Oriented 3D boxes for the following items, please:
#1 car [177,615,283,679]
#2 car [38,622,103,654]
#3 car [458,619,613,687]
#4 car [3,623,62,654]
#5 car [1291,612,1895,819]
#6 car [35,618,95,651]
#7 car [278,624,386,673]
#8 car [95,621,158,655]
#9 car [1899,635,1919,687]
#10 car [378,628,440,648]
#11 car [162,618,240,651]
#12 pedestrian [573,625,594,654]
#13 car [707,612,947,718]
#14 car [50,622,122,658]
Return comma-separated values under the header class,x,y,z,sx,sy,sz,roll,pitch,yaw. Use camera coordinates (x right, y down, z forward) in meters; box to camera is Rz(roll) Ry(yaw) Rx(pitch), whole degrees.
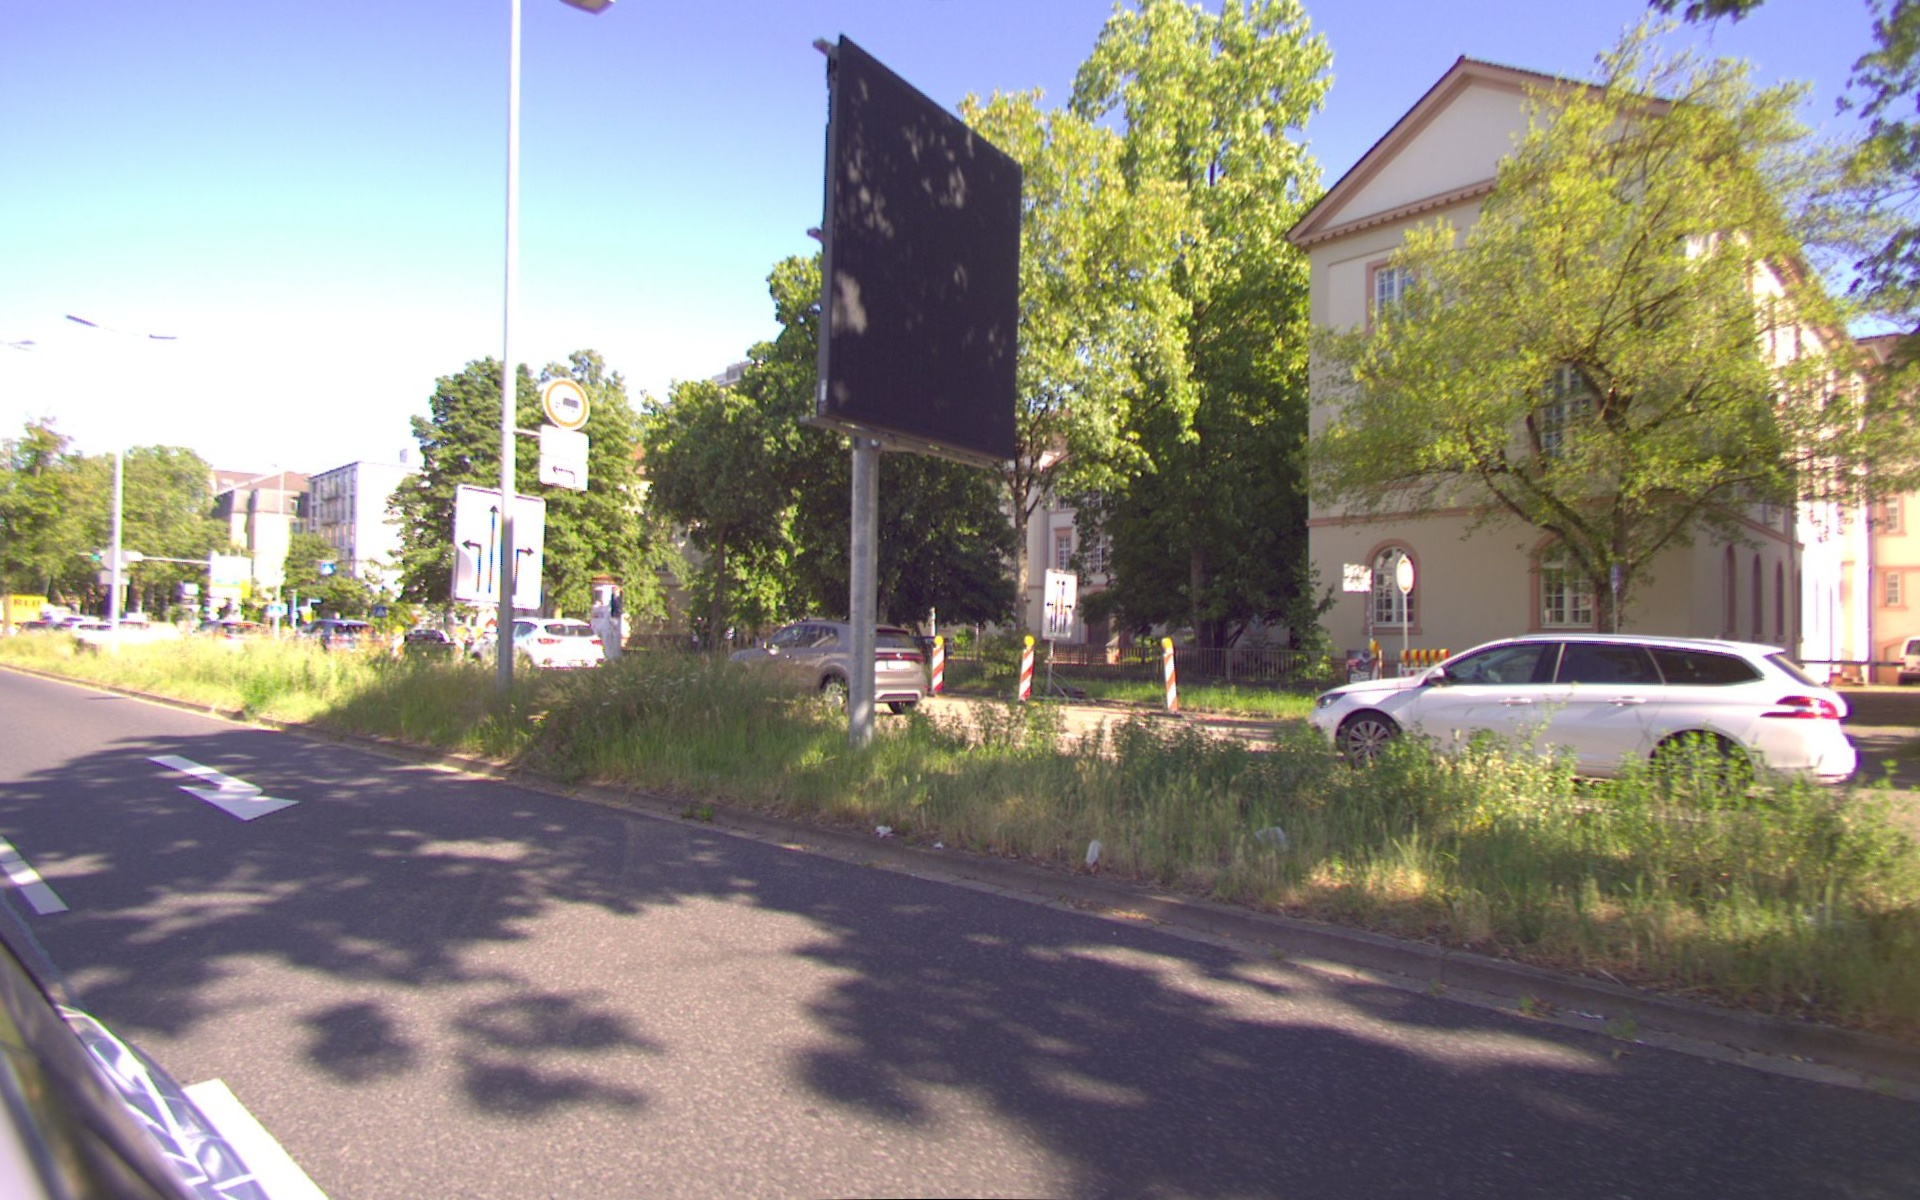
class,x,y,z,sx,sy,sz,roll,pitch,yaw
car,-22.512,1.389,31.148,4.322,1.630,1.735,3,1,41
car,-43.953,1.852,49.980,4.360,1.530,1.777,-1,-1,40
car,-10.482,1.247,24.868,4.255,1.530,1.777,-1,-2,40
car,-49.615,2.028,54.117,4.344,1.530,1.777,0,-1,40
car,5.813,0.955,9.781,4.665,1.530,1.819,-2,-4,42
car,-57.421,2.190,64.899,5.014,2.043,2.210,-1,-2,40
car,-21.004,1.567,33.772,4.441,1.530,1.777,-1,-2,40
car,-45.528,2.053,55.261,5.028,1.756,1.777,-1,-2,40
car,36.017,2.255,37.078,3.939,1.807,2.003,1,1,-43
car,-50.133,3.409,92.174,4.637,1.630,1.922,1,1,-40
car,-33.027,1.462,43.986,4.255,1.362,1.777,-1,-2,40
pedestrian,-20.790,2.180,55.874,0.780,1.547,0.733,-1,-3,35
car,-2.404,1.026,17.613,4.257,1.530,1.777,1,0,41
car,-39.043,1.765,45.176,4.202,1.530,1.777,-1,-2,40
